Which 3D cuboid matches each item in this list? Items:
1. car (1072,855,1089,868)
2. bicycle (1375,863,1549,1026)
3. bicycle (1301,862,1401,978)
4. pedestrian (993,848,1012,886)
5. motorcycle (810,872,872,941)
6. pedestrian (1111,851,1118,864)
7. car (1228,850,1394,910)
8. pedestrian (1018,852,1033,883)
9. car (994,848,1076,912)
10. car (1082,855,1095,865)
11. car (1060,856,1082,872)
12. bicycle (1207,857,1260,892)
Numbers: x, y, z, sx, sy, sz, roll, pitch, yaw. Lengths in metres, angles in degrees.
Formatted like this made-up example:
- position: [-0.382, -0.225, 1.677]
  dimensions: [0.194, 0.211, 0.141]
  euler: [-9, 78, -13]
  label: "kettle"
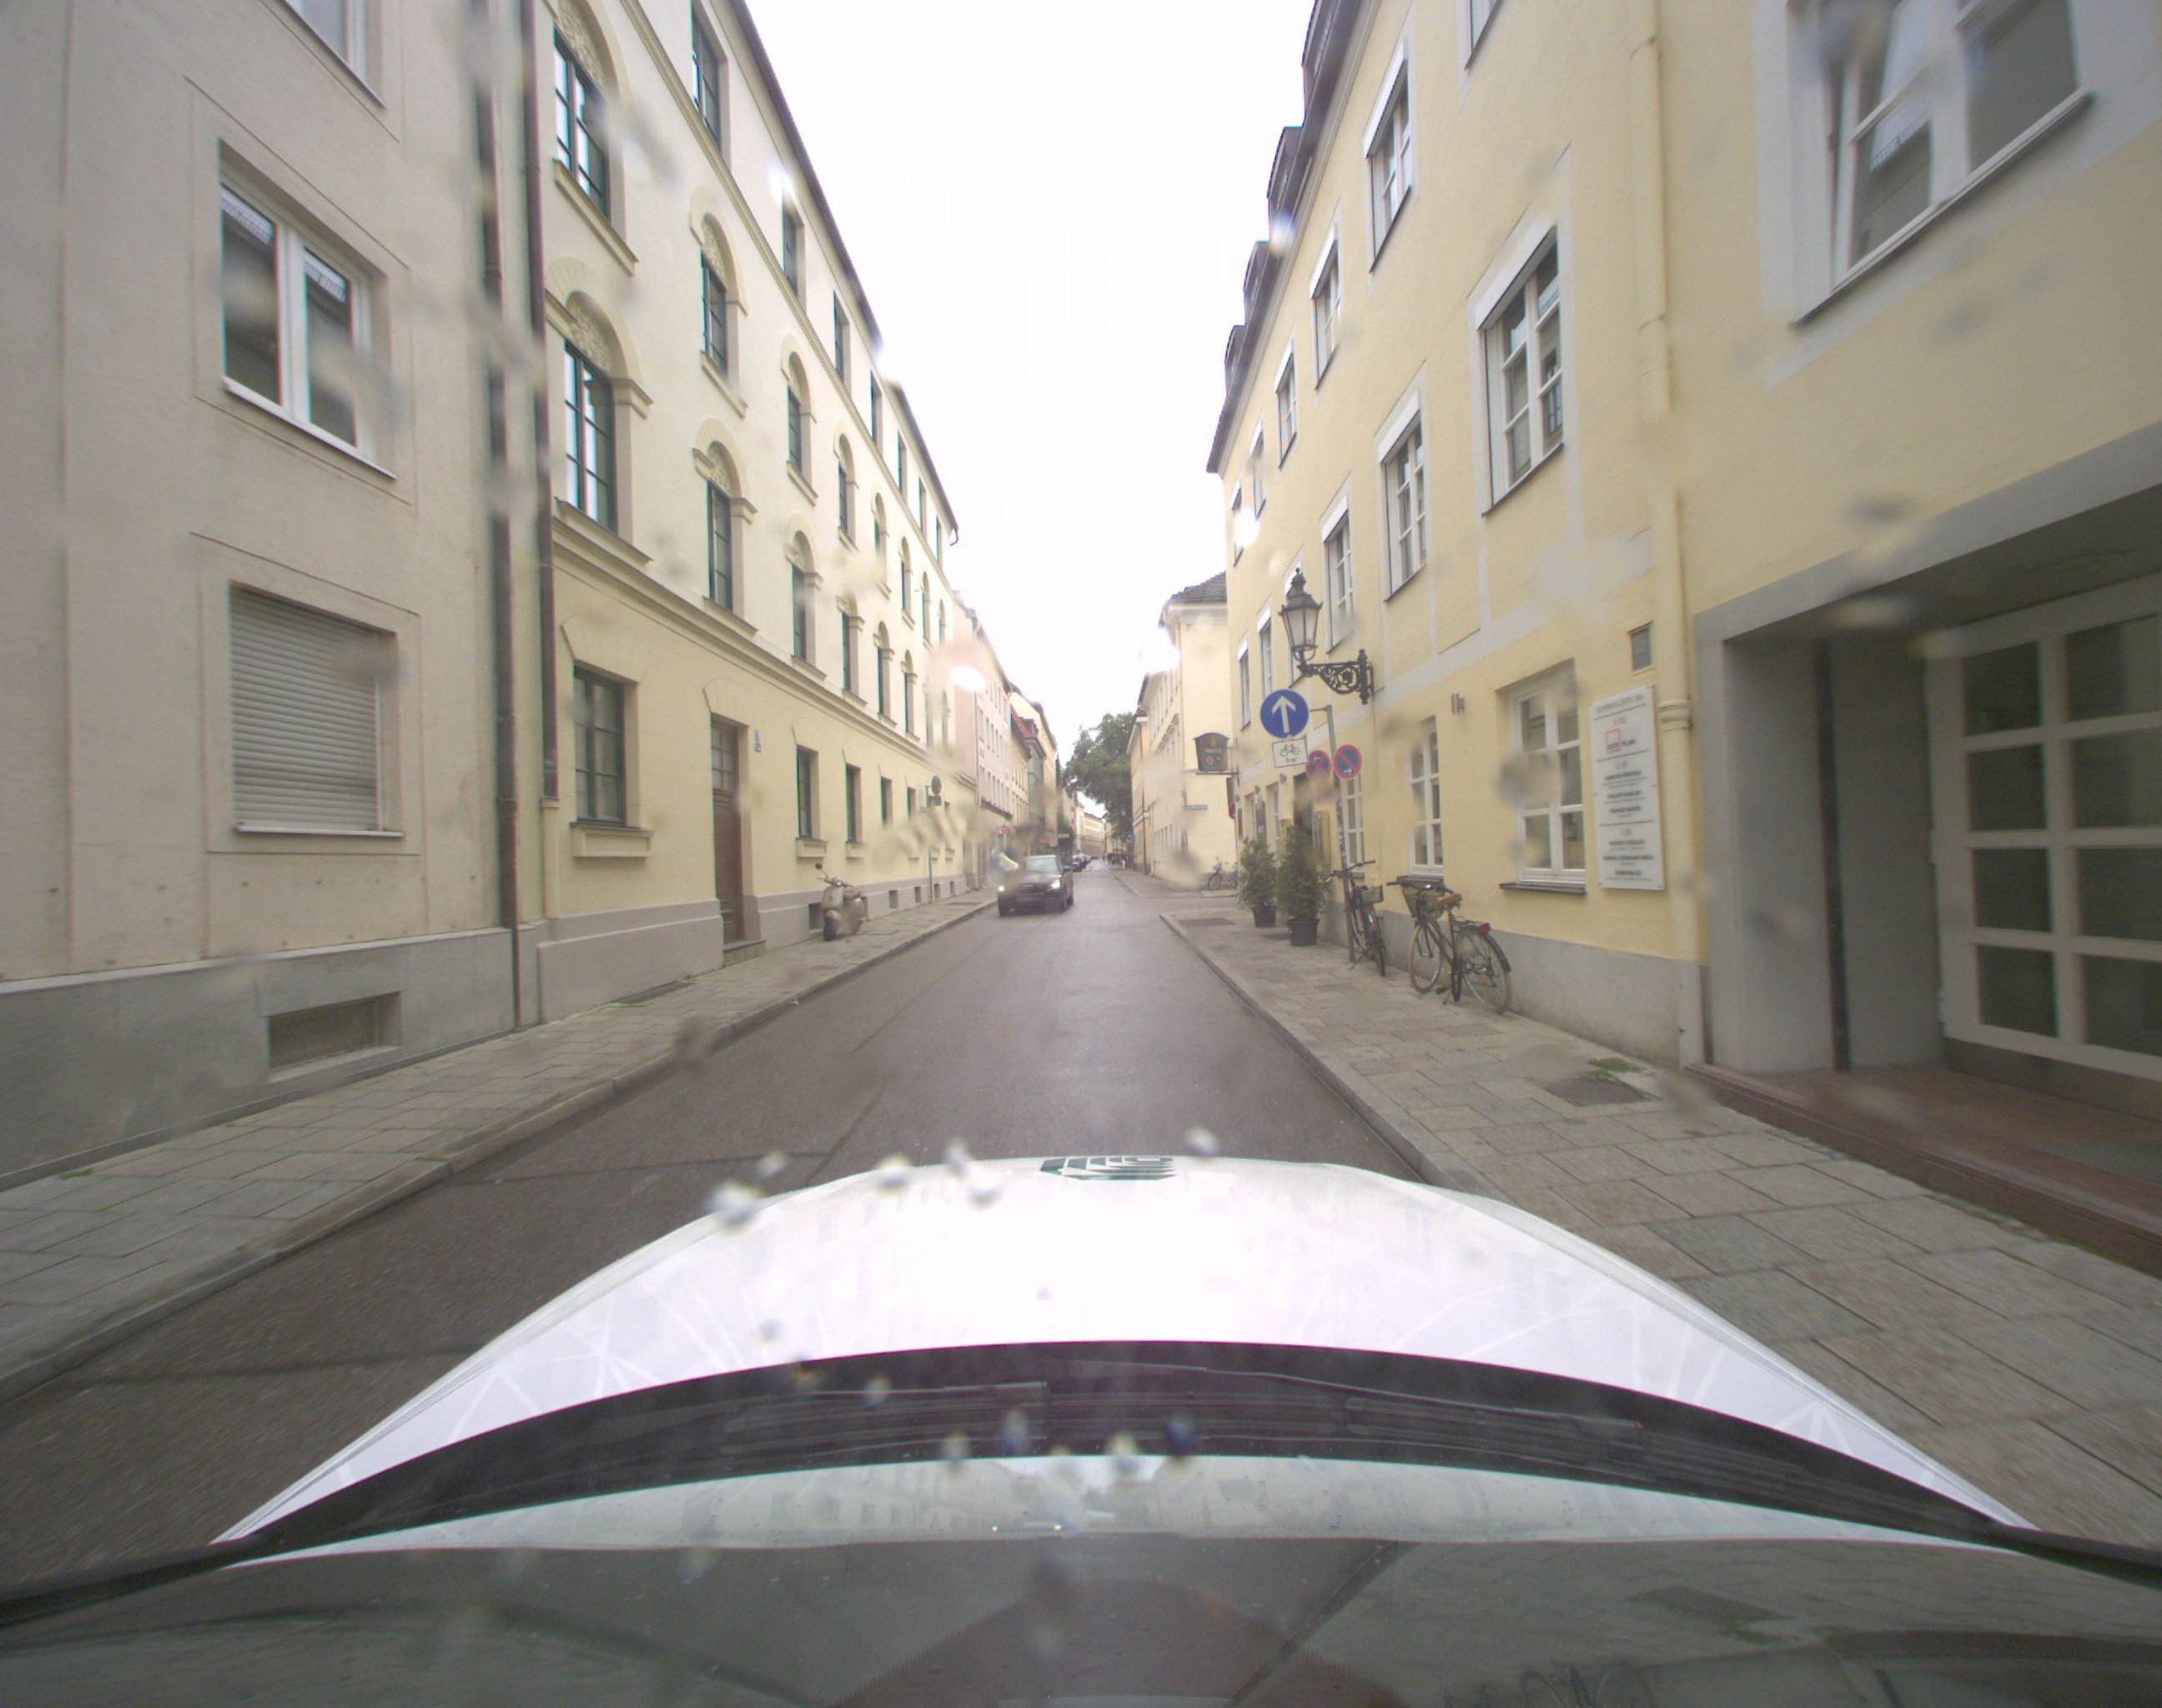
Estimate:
- position: [-0.065, 0.901, 98.464]
  dimensions: [1.771, 1.466, 3.545]
  euler: [-1, 0, 4]
  label: "car"
- position: [3.156, 0.678, 6.975]
  dimensions: [0.563, 1.137, 1.988]
  euler: [-4, 0, 2]
  label: "bicycle"
- position: [2.999, 0.682, 9.197]
  dimensions: [0.563, 1.137, 1.685]
  euler: [-4, 0, 2]
  label: "bicycle"
- position: [-3.750, 0.612, 39.116]
  dimensions: [0.807, 1.755, 0.989]
  euler: [-1, 1, -1]
  label: "pedestrian"
- position: [-4.458, 0.950, 15.227]
  dimensions: [0.600, 1.174, 1.709]
  euler: [-1, 0, 2]
  label: "motorcycle"
- position: [4.628, 0.471, 112.486]
  dimensions: [1.012, 1.802, 1.349]
  euler: [-1, 0, 2]
  label: "pedestrian"
- position: [6.050, 0.661, 21.750]
  dimensions: [3.999, 1.440, 1.766]
  euler: [-1, 2, 2]
  label: "car"
- position: [-3.141, 0.766, 46.014]
  dimensions: [0.763, 1.708, 0.785]
  euler: [-2, 0, -1]
  label: "pedestrian"
- position: [-1.184, 0.673, 22.795]
  dimensions: [1.804, 1.594, 4.004]
  euler: [-2, 0, 3]
  label: "car"
- position: [1.162, 0.927, 128.187]
  dimensions: [1.771, 1.466, 3.545]
  euler: [-1, 0, 4]
  label: "car"
- position: [-0.926, 0.971, 78.647]
  dimensions: [1.771, 1.466, 3.666]
  euler: [-1, 0, 4]
  label: "car"
- position: [5.409, 0.708, 28.892]
  dimensions: [1.751, 1.144, 0.586]
  euler: [-2, 2, 1]
  label: "bicycle"
